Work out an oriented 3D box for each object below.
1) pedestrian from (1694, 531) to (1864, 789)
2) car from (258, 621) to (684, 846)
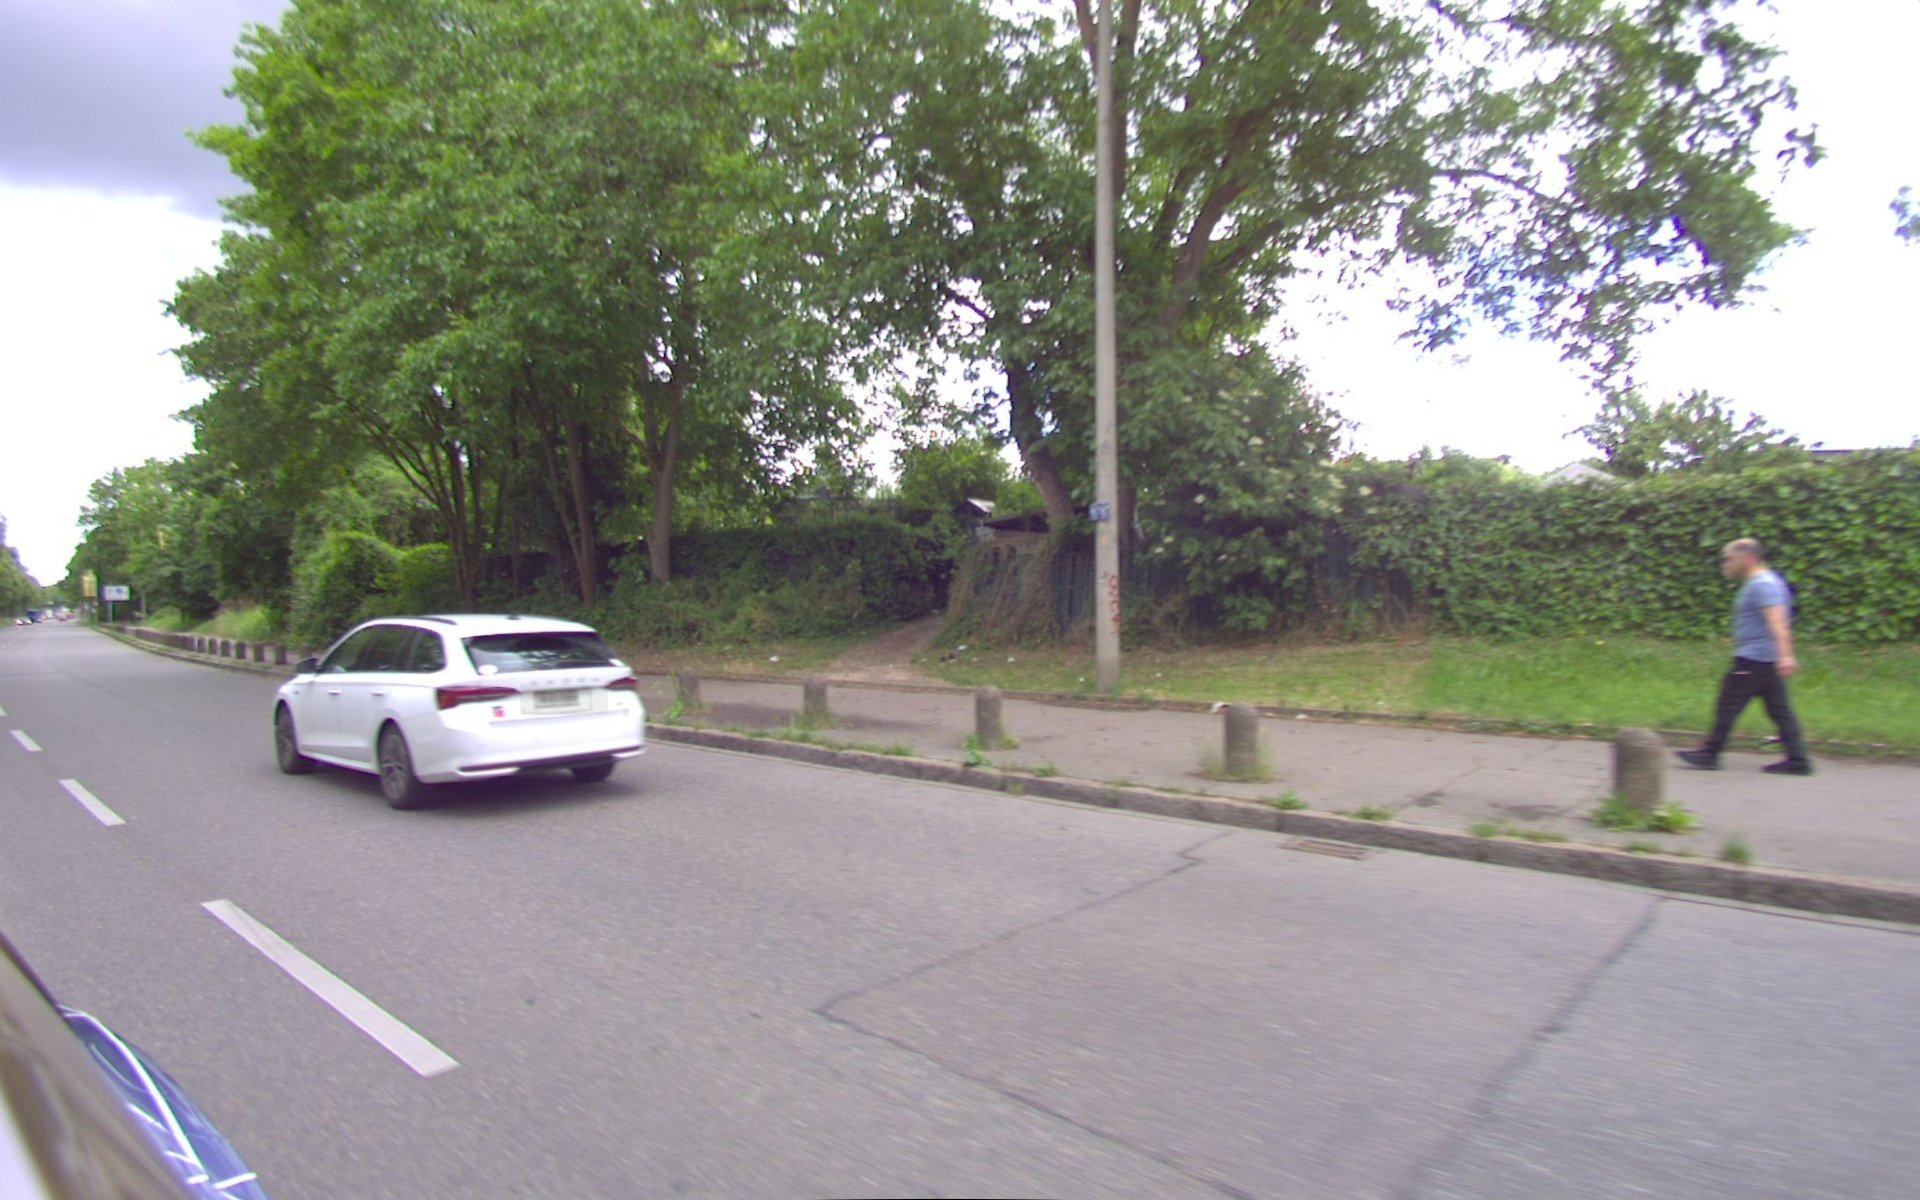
[{"bbox_3d":[5.658,0.378,6.994,0.838,1.646,0.682,-2,2,42],"label":"pedestrian"},{"bbox_3d":[-4.400,0.937,8.761,4.359,1.450,1.755,-2,-1,41],"label":"car"}]
